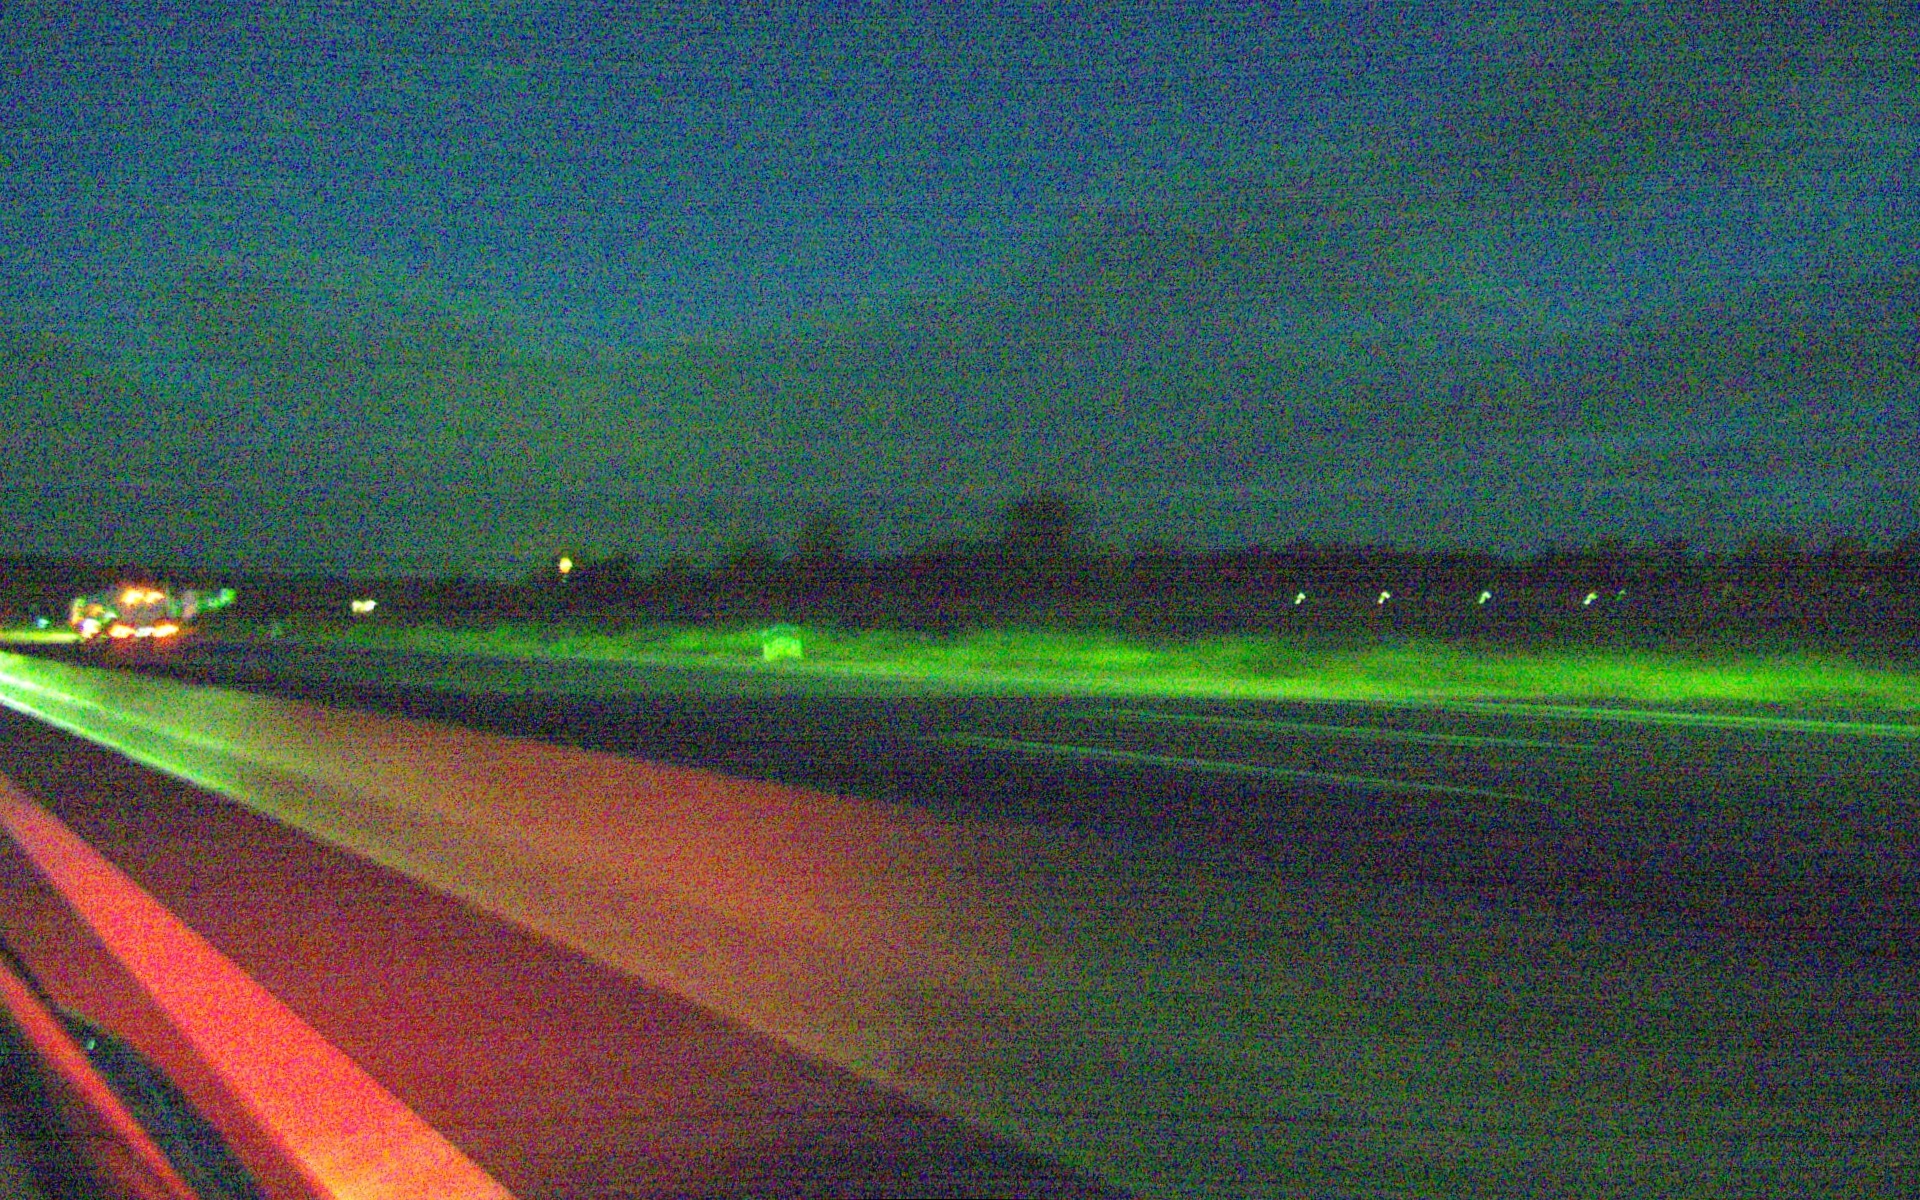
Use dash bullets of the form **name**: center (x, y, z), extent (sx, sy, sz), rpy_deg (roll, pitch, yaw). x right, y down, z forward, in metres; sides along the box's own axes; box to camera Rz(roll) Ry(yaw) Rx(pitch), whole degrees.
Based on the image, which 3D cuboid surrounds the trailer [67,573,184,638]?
- **trailer**: center (-57.001, 0.419, 68.891), extent (14.745, 4.037, 3.403), rpy_deg (-1, 0, 40)

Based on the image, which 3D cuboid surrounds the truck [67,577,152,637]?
- **truck**: center (-60.080, 0.463, 71.437), extent (6.768, 4.037, 3.403), rpy_deg (-1, 0, 39)
